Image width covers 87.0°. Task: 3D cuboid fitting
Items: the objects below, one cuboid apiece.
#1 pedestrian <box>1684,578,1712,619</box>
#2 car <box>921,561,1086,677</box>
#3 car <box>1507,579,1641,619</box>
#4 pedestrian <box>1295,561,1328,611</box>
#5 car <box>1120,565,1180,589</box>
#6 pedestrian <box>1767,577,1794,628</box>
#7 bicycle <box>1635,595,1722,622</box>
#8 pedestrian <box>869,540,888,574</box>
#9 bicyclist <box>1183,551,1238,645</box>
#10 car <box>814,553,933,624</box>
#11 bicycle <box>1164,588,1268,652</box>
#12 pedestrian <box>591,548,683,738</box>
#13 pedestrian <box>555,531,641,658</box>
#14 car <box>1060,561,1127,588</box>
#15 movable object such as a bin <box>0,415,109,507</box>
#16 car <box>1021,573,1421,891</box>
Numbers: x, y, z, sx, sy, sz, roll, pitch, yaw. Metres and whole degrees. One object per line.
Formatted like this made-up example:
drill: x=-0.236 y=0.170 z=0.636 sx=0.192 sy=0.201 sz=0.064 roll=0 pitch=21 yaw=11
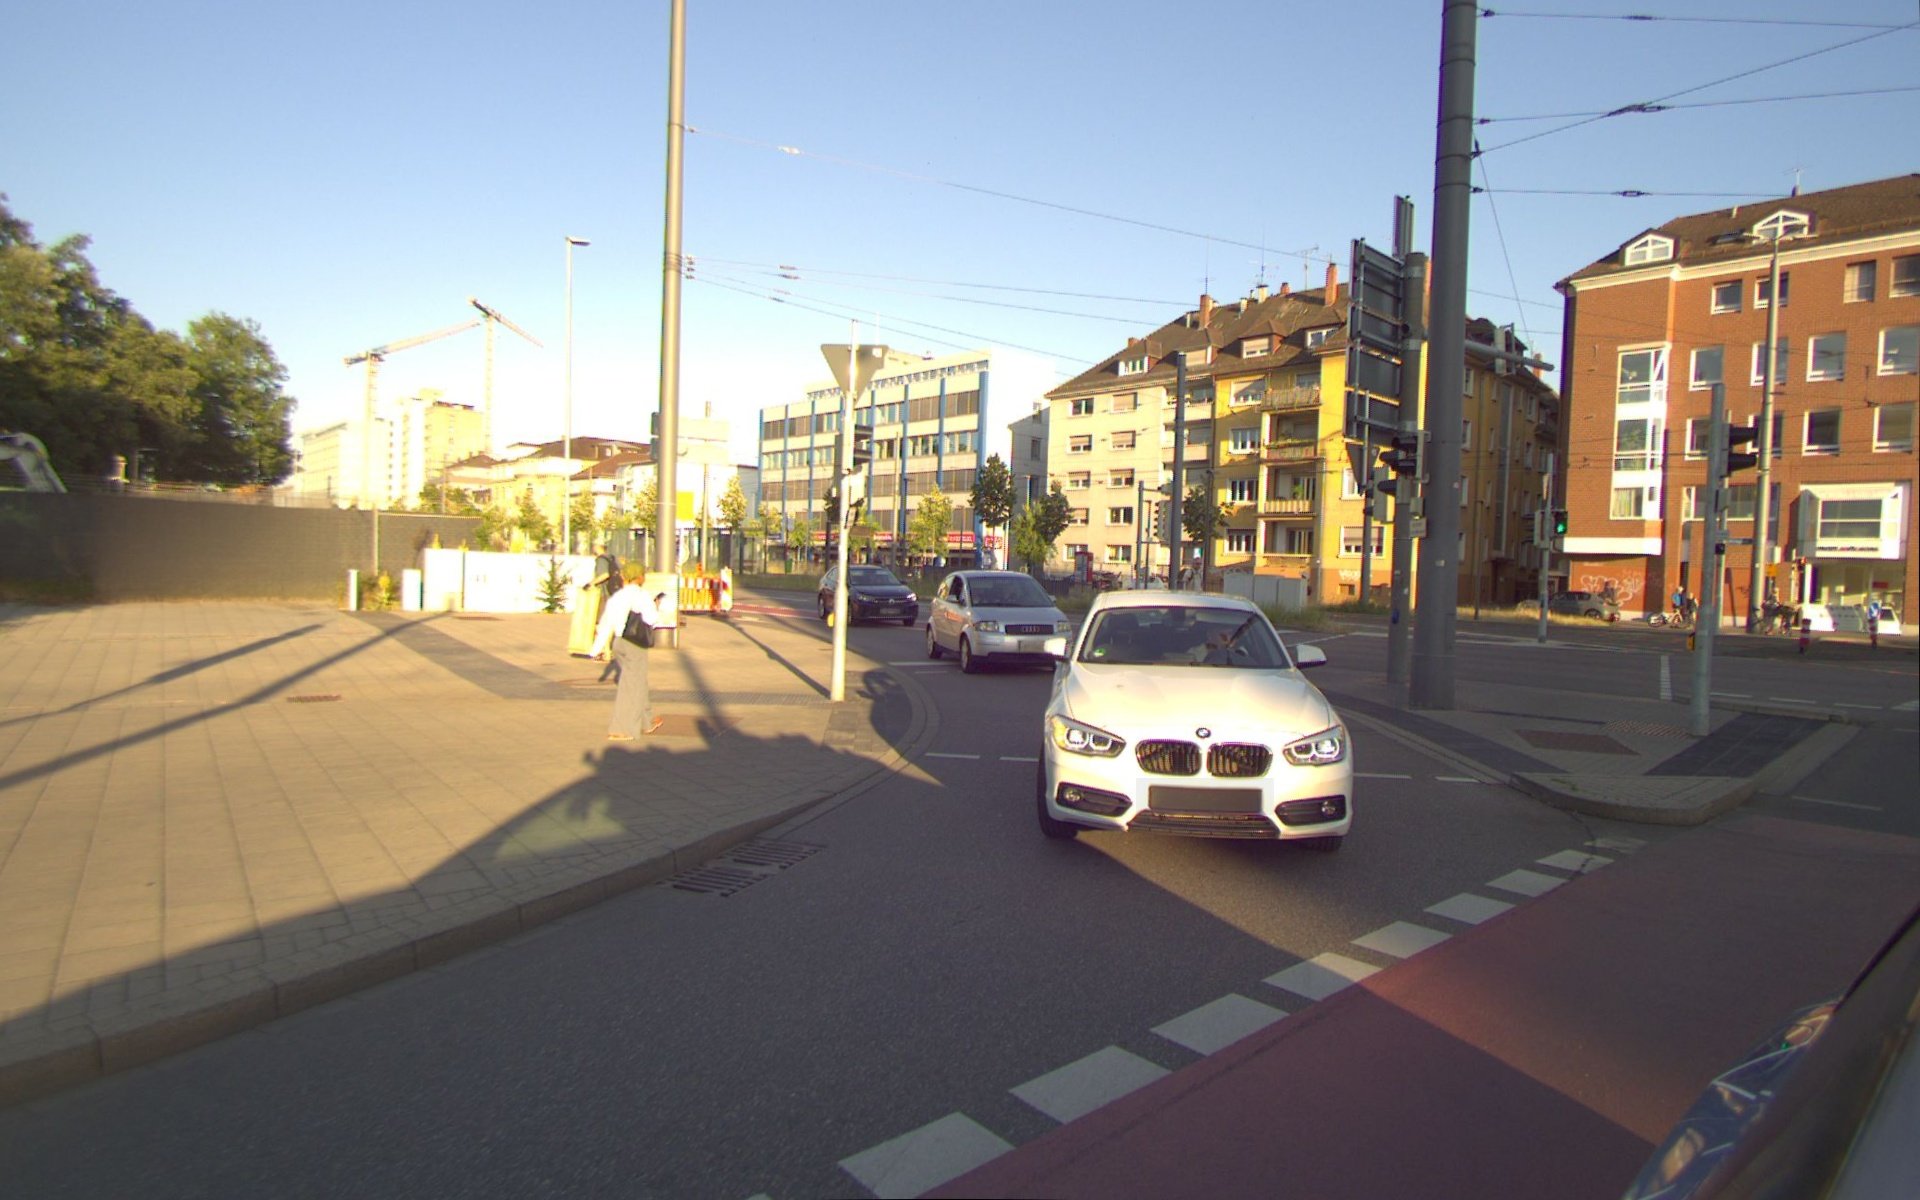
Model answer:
pedestrian: x=32.801 y=-0.078 z=44.985 sx=0.869 sy=1.800 sz=0.904 roll=3 pitch=2 yaw=41
car: x=0.563 y=0.190 z=16.070 sx=1.646 sy=1.580 sz=3.736 roll=-1 pitch=3 yaw=-13
car: x=27.233 y=-0.073 z=44.994 sx=1.882 sy=1.522 sz=4.700 roll=1 pitch=3 yaw=-38
pedestrian: x=11.247 y=-0.446 z=32.388 sx=0.693 sy=1.560 sz=0.638 roll=1 pitch=2 yaw=-25
car: x=12.651 y=-1.523 z=67.476 sx=1.711 sy=1.437 sz=3.536 roll=0 pitch=3 yaw=-44
pedestrian: x=28.677 y=0.077 z=35.355 sx=0.505 sy=1.729 sz=0.419 roll=2 pitch=1 yaw=-3
bicycle: x=31.715 y=0.352 z=44.719 sx=3.053 sy=1.029 sz=0.917 roll=4 pitch=3 yaw=42
pedestrian: x=-3.931 y=-2.103 z=48.988 sx=0.555 sy=1.610 sz=0.690 roll=1 pitch=2 yaw=-39
bicyclist: x=4.641 y=-0.052 z=18.745 sx=0.585 sy=1.691 sz=0.747 roll=0 pitch=2 yaw=-40
car: x=-2.373 y=-0.354 z=26.579 sx=1.903 sy=1.637 sz=4.403 roll=1 pitch=2 yaw=-21
bicycle: x=4.699 y=0.342 z=18.673 sx=0.586 sy=1.035 sz=1.846 roll=1 pitch=3 yaw=-39
pedestrian: x=-2.936 y=0.364 z=9.175 sx=0.585 sy=1.633 sz=0.690 roll=1 pitch=2 yaw=-34
pedestrian: x=-5.219 y=-0.094 z=14.645 sx=0.807 sy=1.757 sz=0.943 roll=2 pitch=2 yaw=6
car: x=9.375 y=-1.791 z=71.290 sx=2.084 sy=1.725 sz=4.340 roll=0 pitch=3 yaw=-44
movable object such as a bin: x=-24.167 y=-3.442 z=24.630 sx=4.919 sy=2.038 sz=2.005 roll=2 pitch=2 yaw=-12
car: x=1.496 y=0.579 z=7.117 sx=1.884 sy=1.423 sz=4.298 roll=2 pitch=3 yaw=6
